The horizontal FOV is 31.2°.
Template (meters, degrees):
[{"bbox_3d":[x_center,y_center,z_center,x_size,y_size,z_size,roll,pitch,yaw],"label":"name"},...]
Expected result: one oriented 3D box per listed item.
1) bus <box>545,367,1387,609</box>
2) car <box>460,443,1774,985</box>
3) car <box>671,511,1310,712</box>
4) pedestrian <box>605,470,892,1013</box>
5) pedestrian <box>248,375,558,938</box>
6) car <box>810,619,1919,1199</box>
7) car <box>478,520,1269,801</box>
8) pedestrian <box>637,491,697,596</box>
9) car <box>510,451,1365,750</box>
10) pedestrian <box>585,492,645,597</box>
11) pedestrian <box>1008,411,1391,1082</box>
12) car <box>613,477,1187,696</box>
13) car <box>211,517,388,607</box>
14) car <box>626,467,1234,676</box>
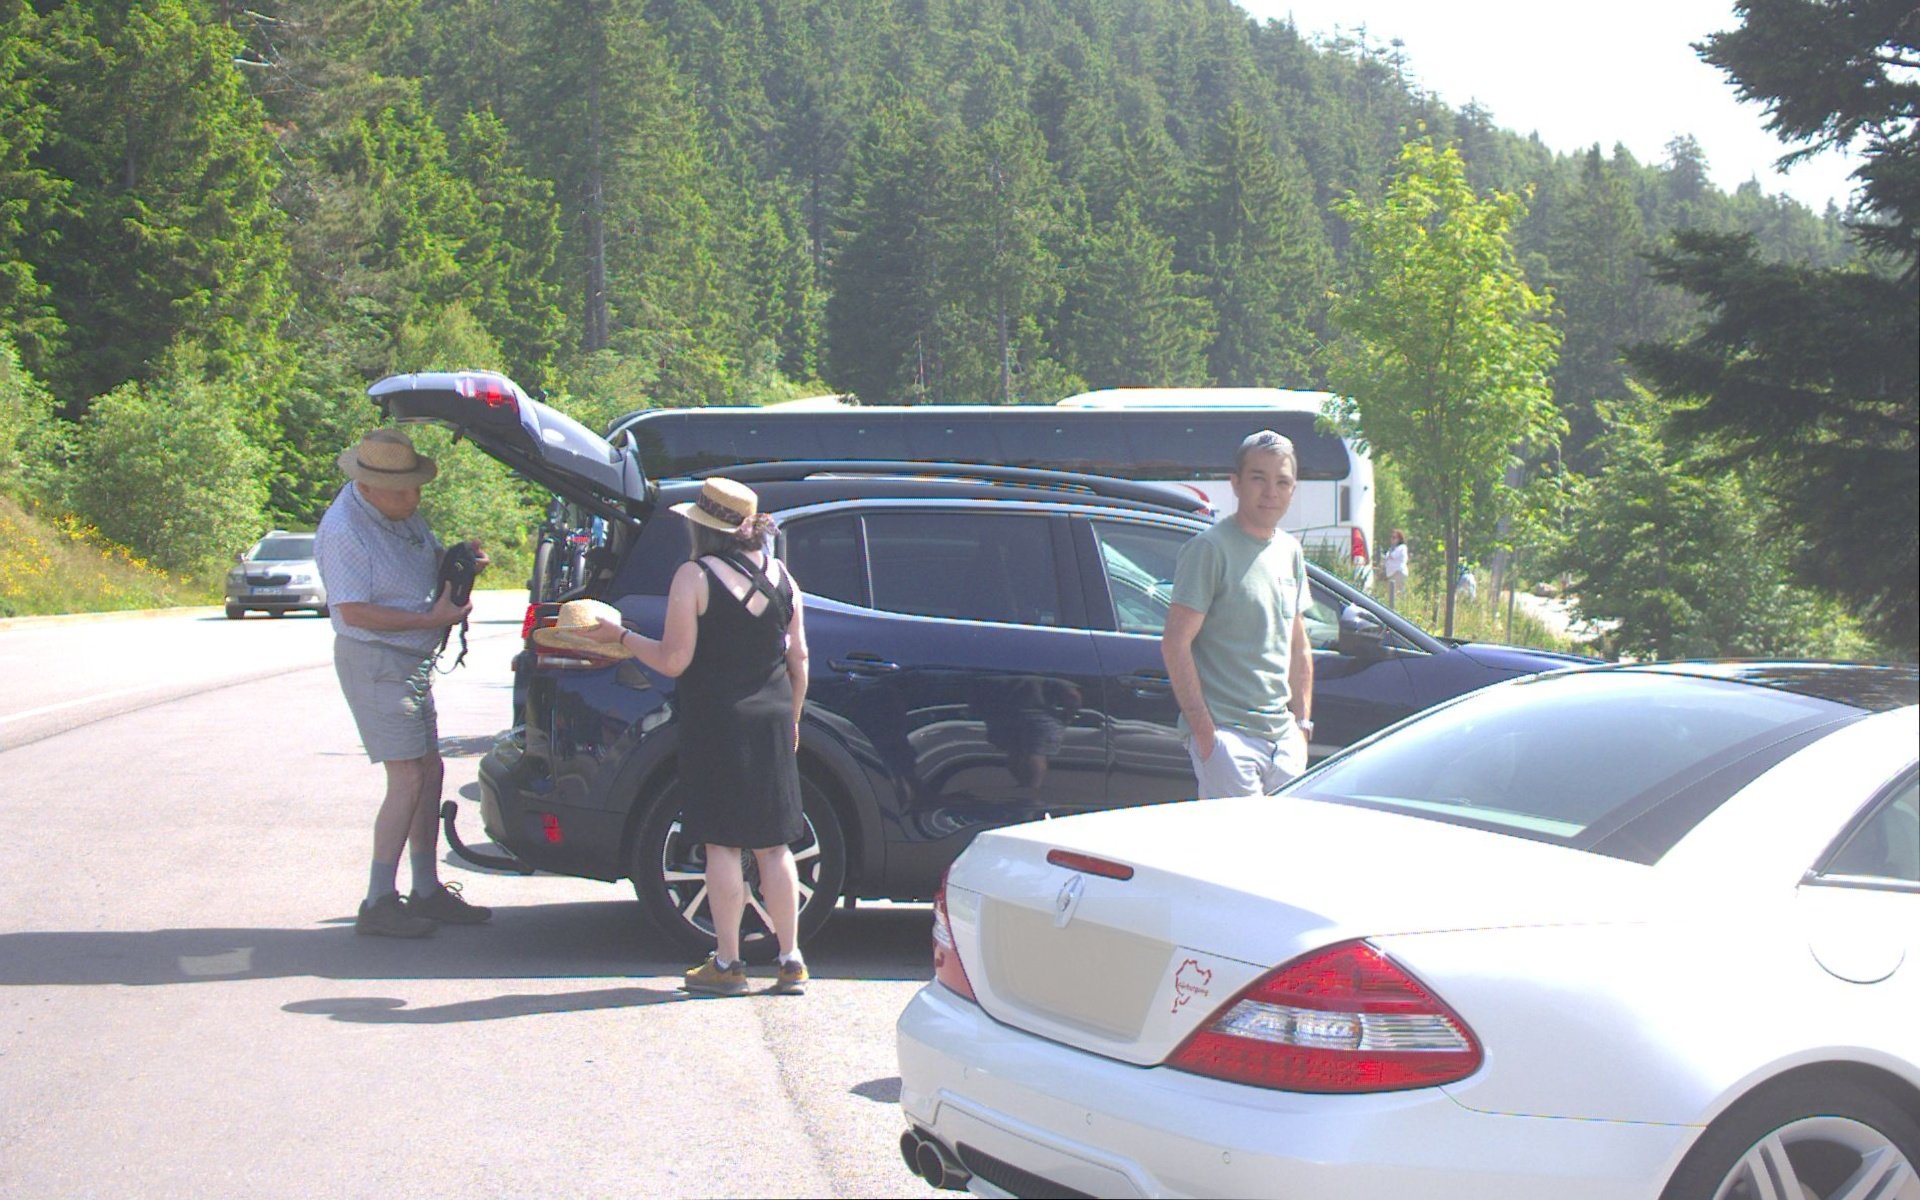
[{"bbox_3d":[0.174,-1.749,54.831,13.097,3.520,3.043,-1,1,8],"label":"bus"},{"bbox_3d":[0.443,0.387,12.282,4.343,1.620,1.870,3,0,-8],"label":"car"},{"bbox_3d":[0.169,0.050,23.843,4.243,1.264,1.838,-1,1,-3],"label":"car"},{"bbox_3d":[-0.655,0.420,10.568,0.714,1.607,0.537,1,0,-23],"label":"pedestrian"},{"bbox_3d":[-1.929,0.163,11.934,0.736,1.864,0.757,3,4,27],"label":"pedestrian"},{"bbox_3d":[2.089,0.775,6.773,4.397,1.291,1.756,2,2,-26],"label":"car"},{"bbox_3d":[-0.532,0.309,18.705,4.080,1.372,1.703,1,1,-9],"label":"car"},{"bbox_3d":[-4.500,-0.874,52.868,0.770,1.579,0.772,-1,1,4],"label":"pedestrian"},{"bbox_3d":[-0.135,-0.025,20.938,4.949,1.690,1.945,-1,2,-1],"label":"car"},{"bbox_3d":[-5.304,-0.858,52.935,0.770,1.579,0.772,-1,1,4],"label":"pedestrian"},{"bbox_3d":[0.671,0.388,9.700,0.746,1.794,0.736,1,0,-35],"label":"pedestrian"},{"bbox_3d":[-0.480,-0.128,26.499,4.243,1.548,1.838,-1,1,-3],"label":"car"},{"bbox_3d":[-11.278,-0.681,59.006,1.879,1.469,4.714,0,1,3],"label":"car"},{"bbox_3d":[-0.287,-0.268,29.625,5.033,1.645,2.048,-1,1,-3],"label":"car"}]
